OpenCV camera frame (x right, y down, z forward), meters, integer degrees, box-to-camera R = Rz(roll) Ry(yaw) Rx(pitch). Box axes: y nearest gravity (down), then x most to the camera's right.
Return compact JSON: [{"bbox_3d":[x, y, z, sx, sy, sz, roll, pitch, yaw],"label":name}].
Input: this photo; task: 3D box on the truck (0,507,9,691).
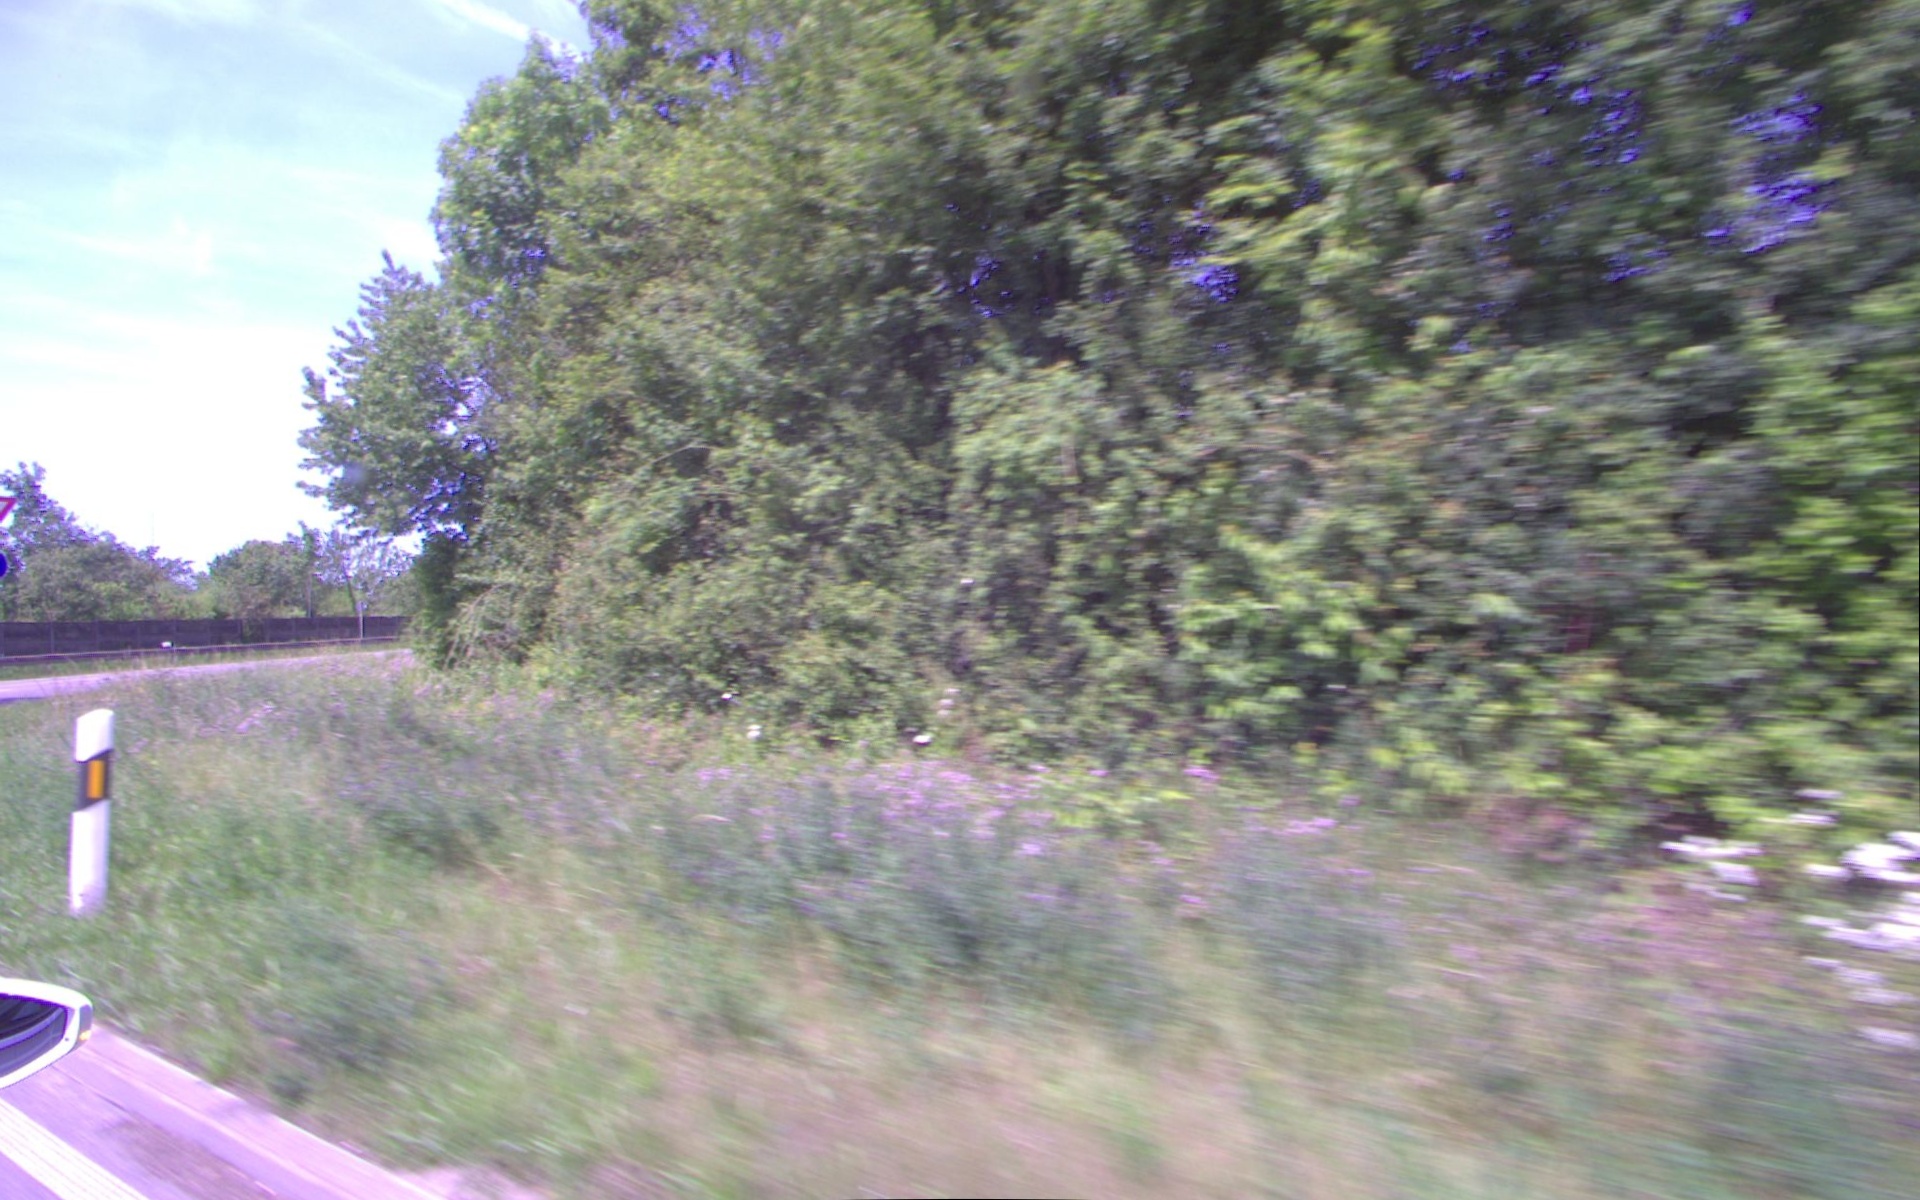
[{"bbox_3d":[-22.452,-0.050,19.615,3.111,4.280,7.099,-1,0,-23],"label":"truck"}]
